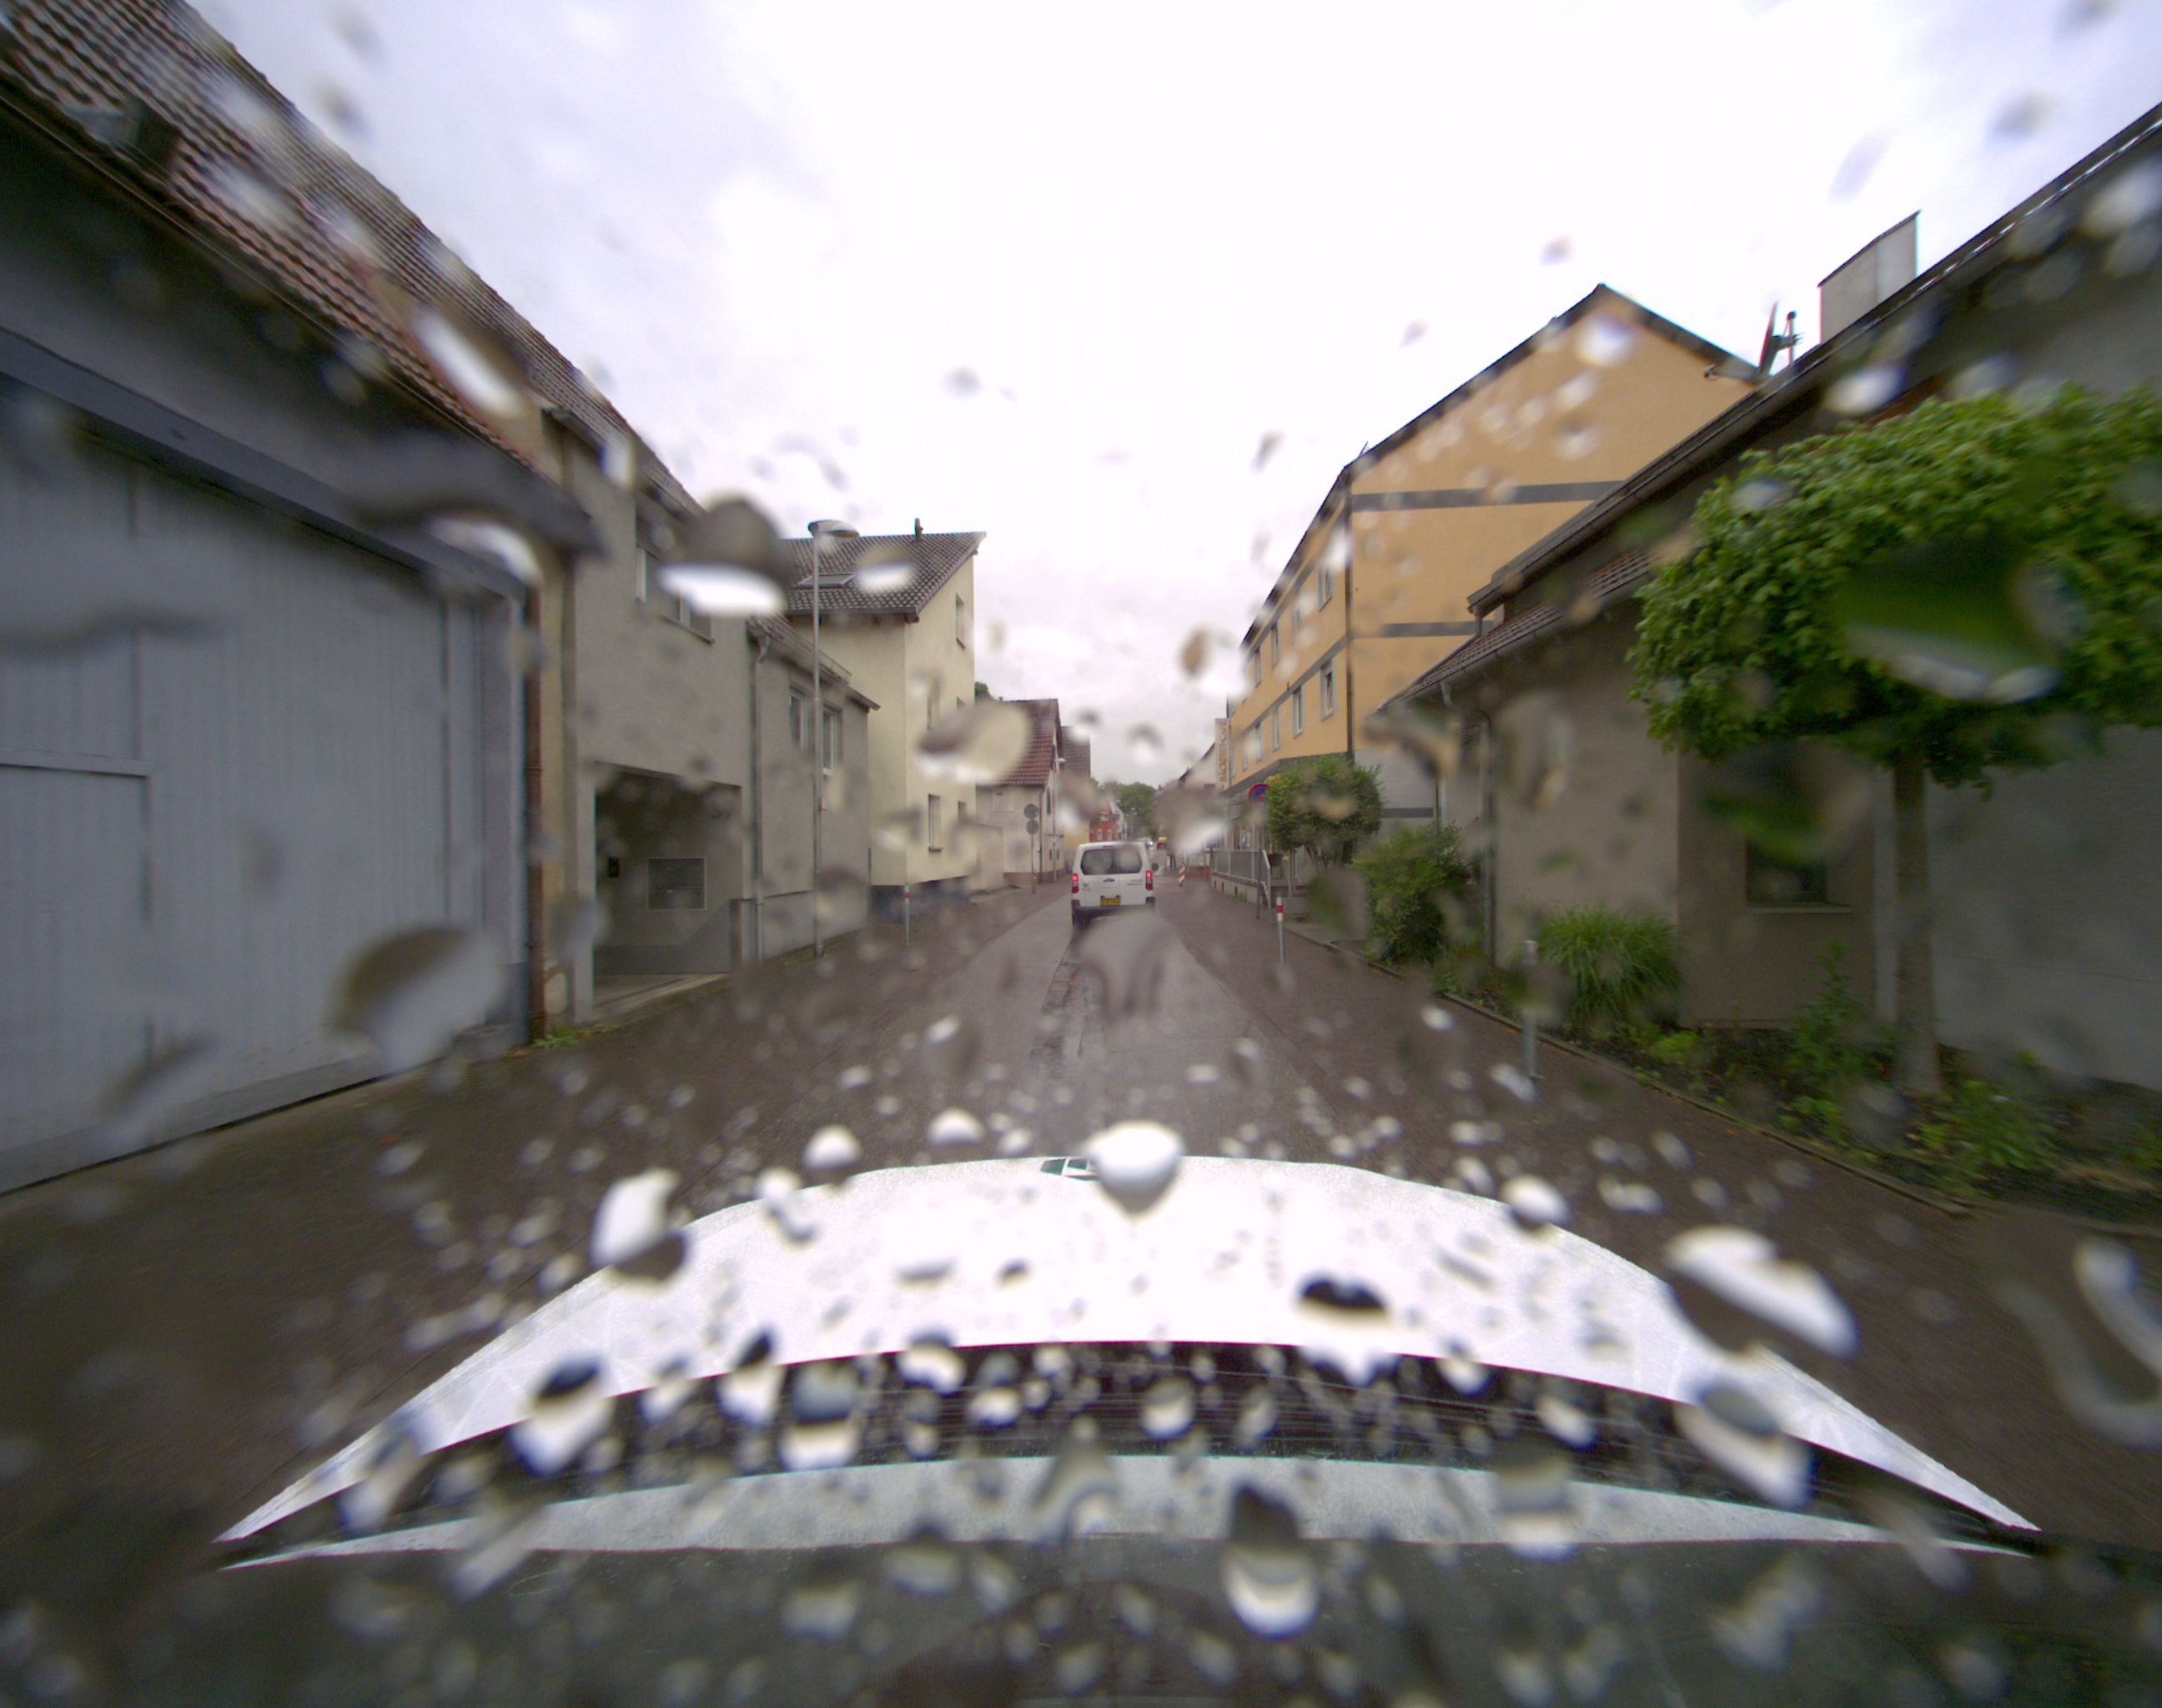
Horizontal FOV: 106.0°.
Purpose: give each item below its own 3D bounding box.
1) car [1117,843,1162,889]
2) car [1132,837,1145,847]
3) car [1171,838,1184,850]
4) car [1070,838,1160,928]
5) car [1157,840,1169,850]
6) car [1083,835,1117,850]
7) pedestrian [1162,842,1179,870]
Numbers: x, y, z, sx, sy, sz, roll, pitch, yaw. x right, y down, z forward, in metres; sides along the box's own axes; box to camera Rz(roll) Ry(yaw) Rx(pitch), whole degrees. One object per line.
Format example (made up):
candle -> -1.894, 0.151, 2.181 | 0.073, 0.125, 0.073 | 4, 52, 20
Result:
car -> 2.808, 0.535, 38.878 | 1.984, 2.013, 4.005 | -2, 0, 5
car -> 8.496, -1.747, 120.123 | 1.579, 1.441, 3.775 | 0, 0, 9
car -> 12.602, -1.317, 106.373 | 1.580, 1.441, 3.774 | 0, 0, 8
car -> 0.848, 0.593, 18.555 | 1.766, 1.780, 4.005 | -2, 0, 4
car -> 12.315, -1.380, 122.603 | 1.580, 1.441, 3.774 | 0, 0, 8
car -> 2.247, -1.334, 95.724 | 3.434, 1.559, 1.986 | -5, 2, -22
pedestrian -> 6.182, 0.162, 56.116 | 1.047, 1.893, 0.877 | -2, -1, 1
